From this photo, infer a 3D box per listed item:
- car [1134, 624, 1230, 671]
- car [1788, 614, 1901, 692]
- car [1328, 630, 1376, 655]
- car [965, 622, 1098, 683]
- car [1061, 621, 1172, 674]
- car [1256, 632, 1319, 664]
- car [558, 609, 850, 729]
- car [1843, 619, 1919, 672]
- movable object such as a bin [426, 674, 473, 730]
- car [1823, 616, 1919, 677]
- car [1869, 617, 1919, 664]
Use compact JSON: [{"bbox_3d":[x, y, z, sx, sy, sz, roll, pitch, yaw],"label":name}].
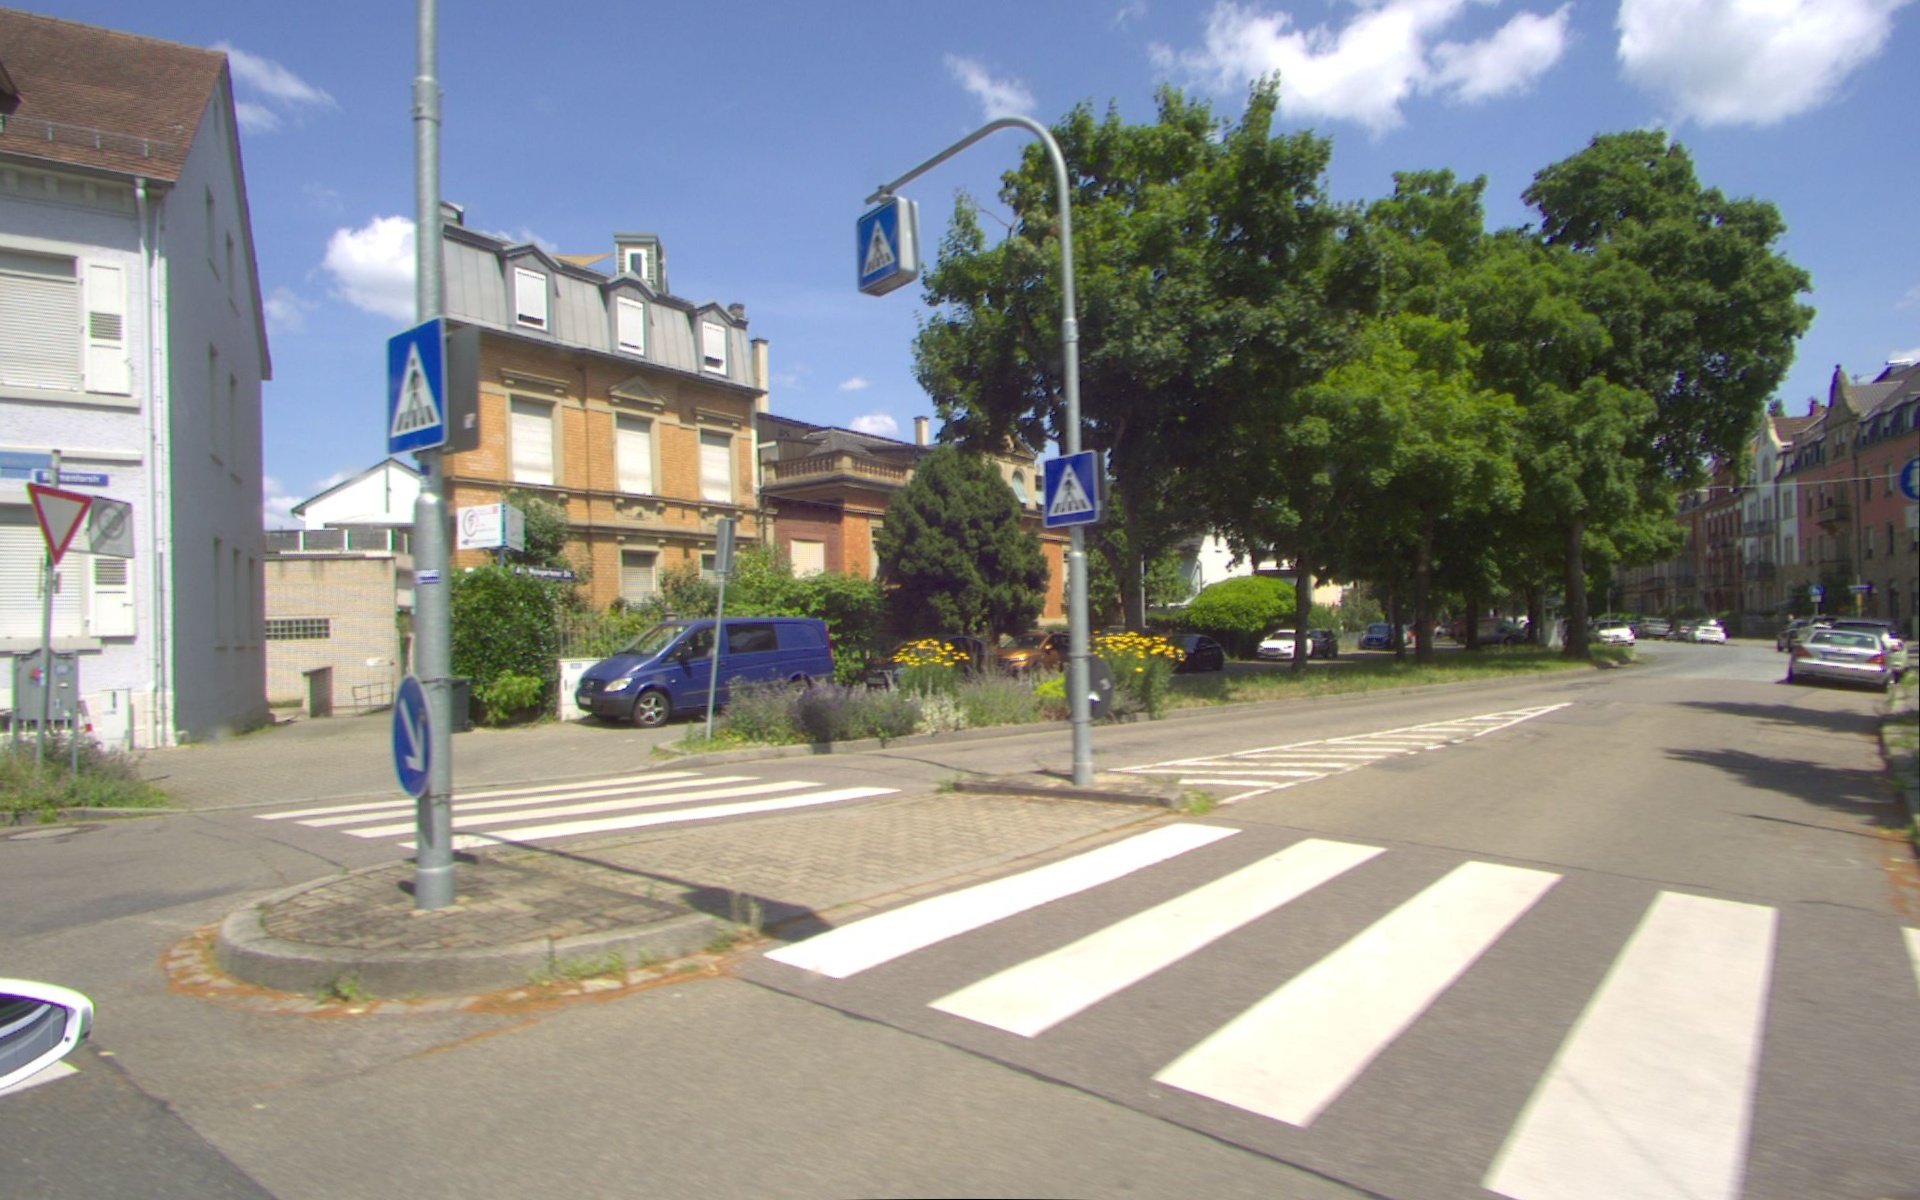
[{"bbox_3d":[8.347,1.800,37.425,1.838,1.610,4.432,-4,-5,37],"label":"car"},{"bbox_3d":[20.093,1.175,22.702,3.695,1.572,1.590,3,0,-44],"label":"car"},{"bbox_3d":[23.040,2.521,58.737,1.495,1.410,4.432,-4,-5,36],"label":"car"},{"bbox_3d":[2.148,1.541,28.988,1.838,1.610,4.217,-4,-5,37],"label":"car"},{"bbox_3d":[5.231,1.591,33.087,1.838,1.610,4.217,-4,-5,37],"label":"car"},{"bbox_3d":[15.645,2.309,47.676,1.495,1.410,4.432,-4,-5,36],"label":"car"},{"bbox_3d":[-4.794,1.195,19.402,2.062,1.973,5.193,-1,-1,44],"label":"car"},{"bbox_3d":[27.309,1.360,29.529,3.695,1.457,1.592,3,-5,-44],"label":"car"},{"bbox_3d":[-8.556,1.707,16.794,0.549,0.927,0.420,-2,-3,11],"label":"movable object such as a bin"},{"bbox_3d":[23.747,1.229,26.042,3.695,1.457,1.592,3,-5,-44],"label":"car"},{"bbox_3d":[31.549,1.369,33.356,3.695,1.457,1.592,3,-5,-44],"label":"car"}]
